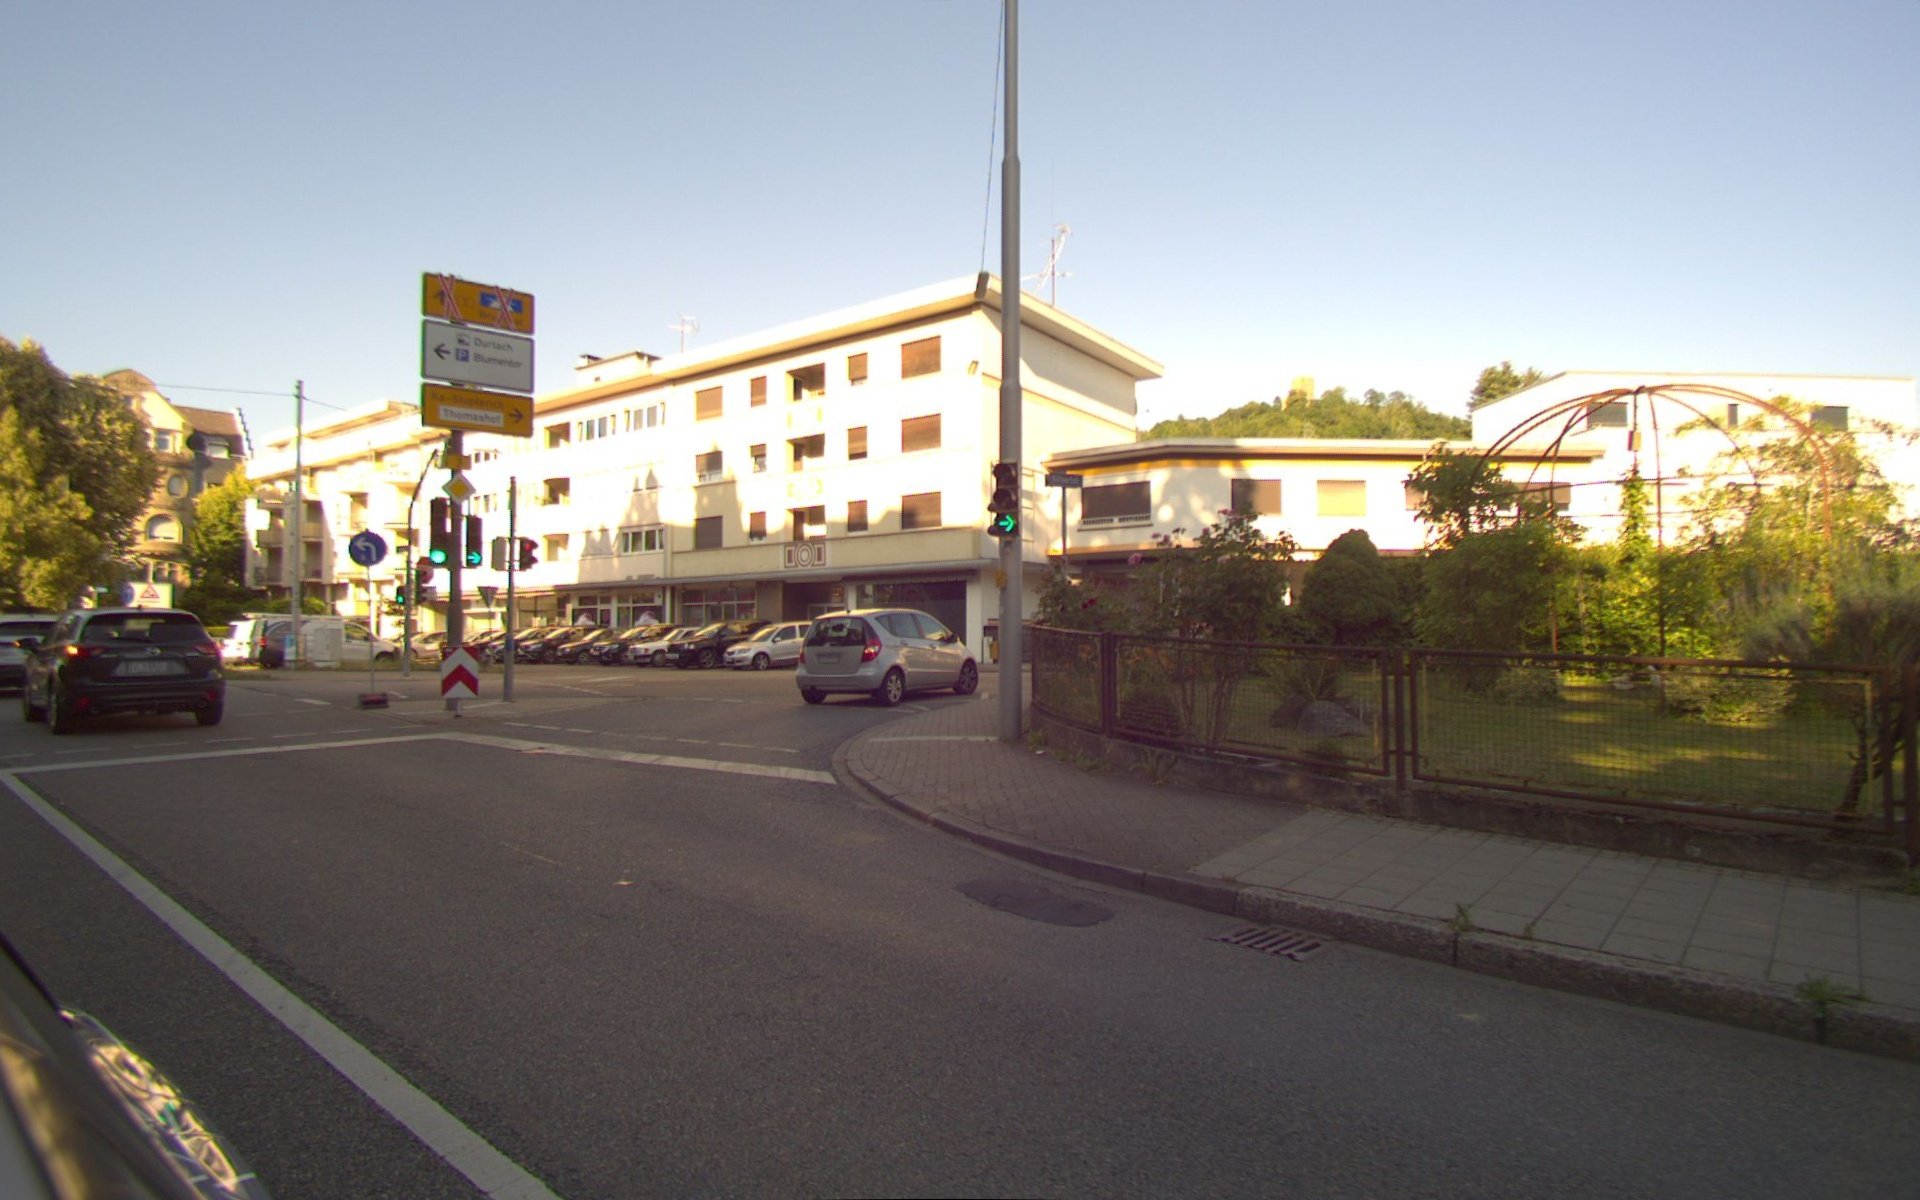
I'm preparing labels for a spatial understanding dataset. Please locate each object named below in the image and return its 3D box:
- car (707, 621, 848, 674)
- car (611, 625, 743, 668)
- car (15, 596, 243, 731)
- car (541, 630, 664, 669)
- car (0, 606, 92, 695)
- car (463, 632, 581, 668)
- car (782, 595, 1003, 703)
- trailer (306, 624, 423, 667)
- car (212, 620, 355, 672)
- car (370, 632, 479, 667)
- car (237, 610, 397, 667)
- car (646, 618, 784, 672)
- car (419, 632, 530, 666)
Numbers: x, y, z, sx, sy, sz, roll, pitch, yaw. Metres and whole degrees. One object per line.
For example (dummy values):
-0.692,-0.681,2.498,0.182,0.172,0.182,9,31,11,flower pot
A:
-6.169,1.585,34.438,4.258,1.623,2.004,0,-2,-38,car
-10.446,1.698,37.475,4.258,1.409,2.004,0,-2,-39,car
-12.081,0.861,14.614,4.282,1.661,1.933,-3,-2,42,car
-14.424,1.977,41.018,1.998,1.409,4.270,-3,-2,40,car
-19.345,1.032,20.650,4.530,1.661,1.758,-3,-2,40,car
-18.964,2.155,43.971,1.998,1.409,4.270,-3,-2,40,car
-1.045,0.817,17.905,1.950,1.661,4.243,-2,-2,28,car
-21.093,1.581,35.945,1.571,1.407,3.225,-3,-2,36,trailer
-26.379,1.751,39.566,1.999,1.866,4.269,-3,-2,40,car
-26.084,2.406,49.418,1.998,1.522,4.270,-3,-2,40,car
-23.972,1.400,37.876,2.113,1.980,4.626,-3,-2,36,car
-8.612,1.543,35.672,4.258,1.728,2.004,0,-2,-39,car
-22.645,2.254,47.295,1.998,1.409,4.270,-3,-2,40,car
